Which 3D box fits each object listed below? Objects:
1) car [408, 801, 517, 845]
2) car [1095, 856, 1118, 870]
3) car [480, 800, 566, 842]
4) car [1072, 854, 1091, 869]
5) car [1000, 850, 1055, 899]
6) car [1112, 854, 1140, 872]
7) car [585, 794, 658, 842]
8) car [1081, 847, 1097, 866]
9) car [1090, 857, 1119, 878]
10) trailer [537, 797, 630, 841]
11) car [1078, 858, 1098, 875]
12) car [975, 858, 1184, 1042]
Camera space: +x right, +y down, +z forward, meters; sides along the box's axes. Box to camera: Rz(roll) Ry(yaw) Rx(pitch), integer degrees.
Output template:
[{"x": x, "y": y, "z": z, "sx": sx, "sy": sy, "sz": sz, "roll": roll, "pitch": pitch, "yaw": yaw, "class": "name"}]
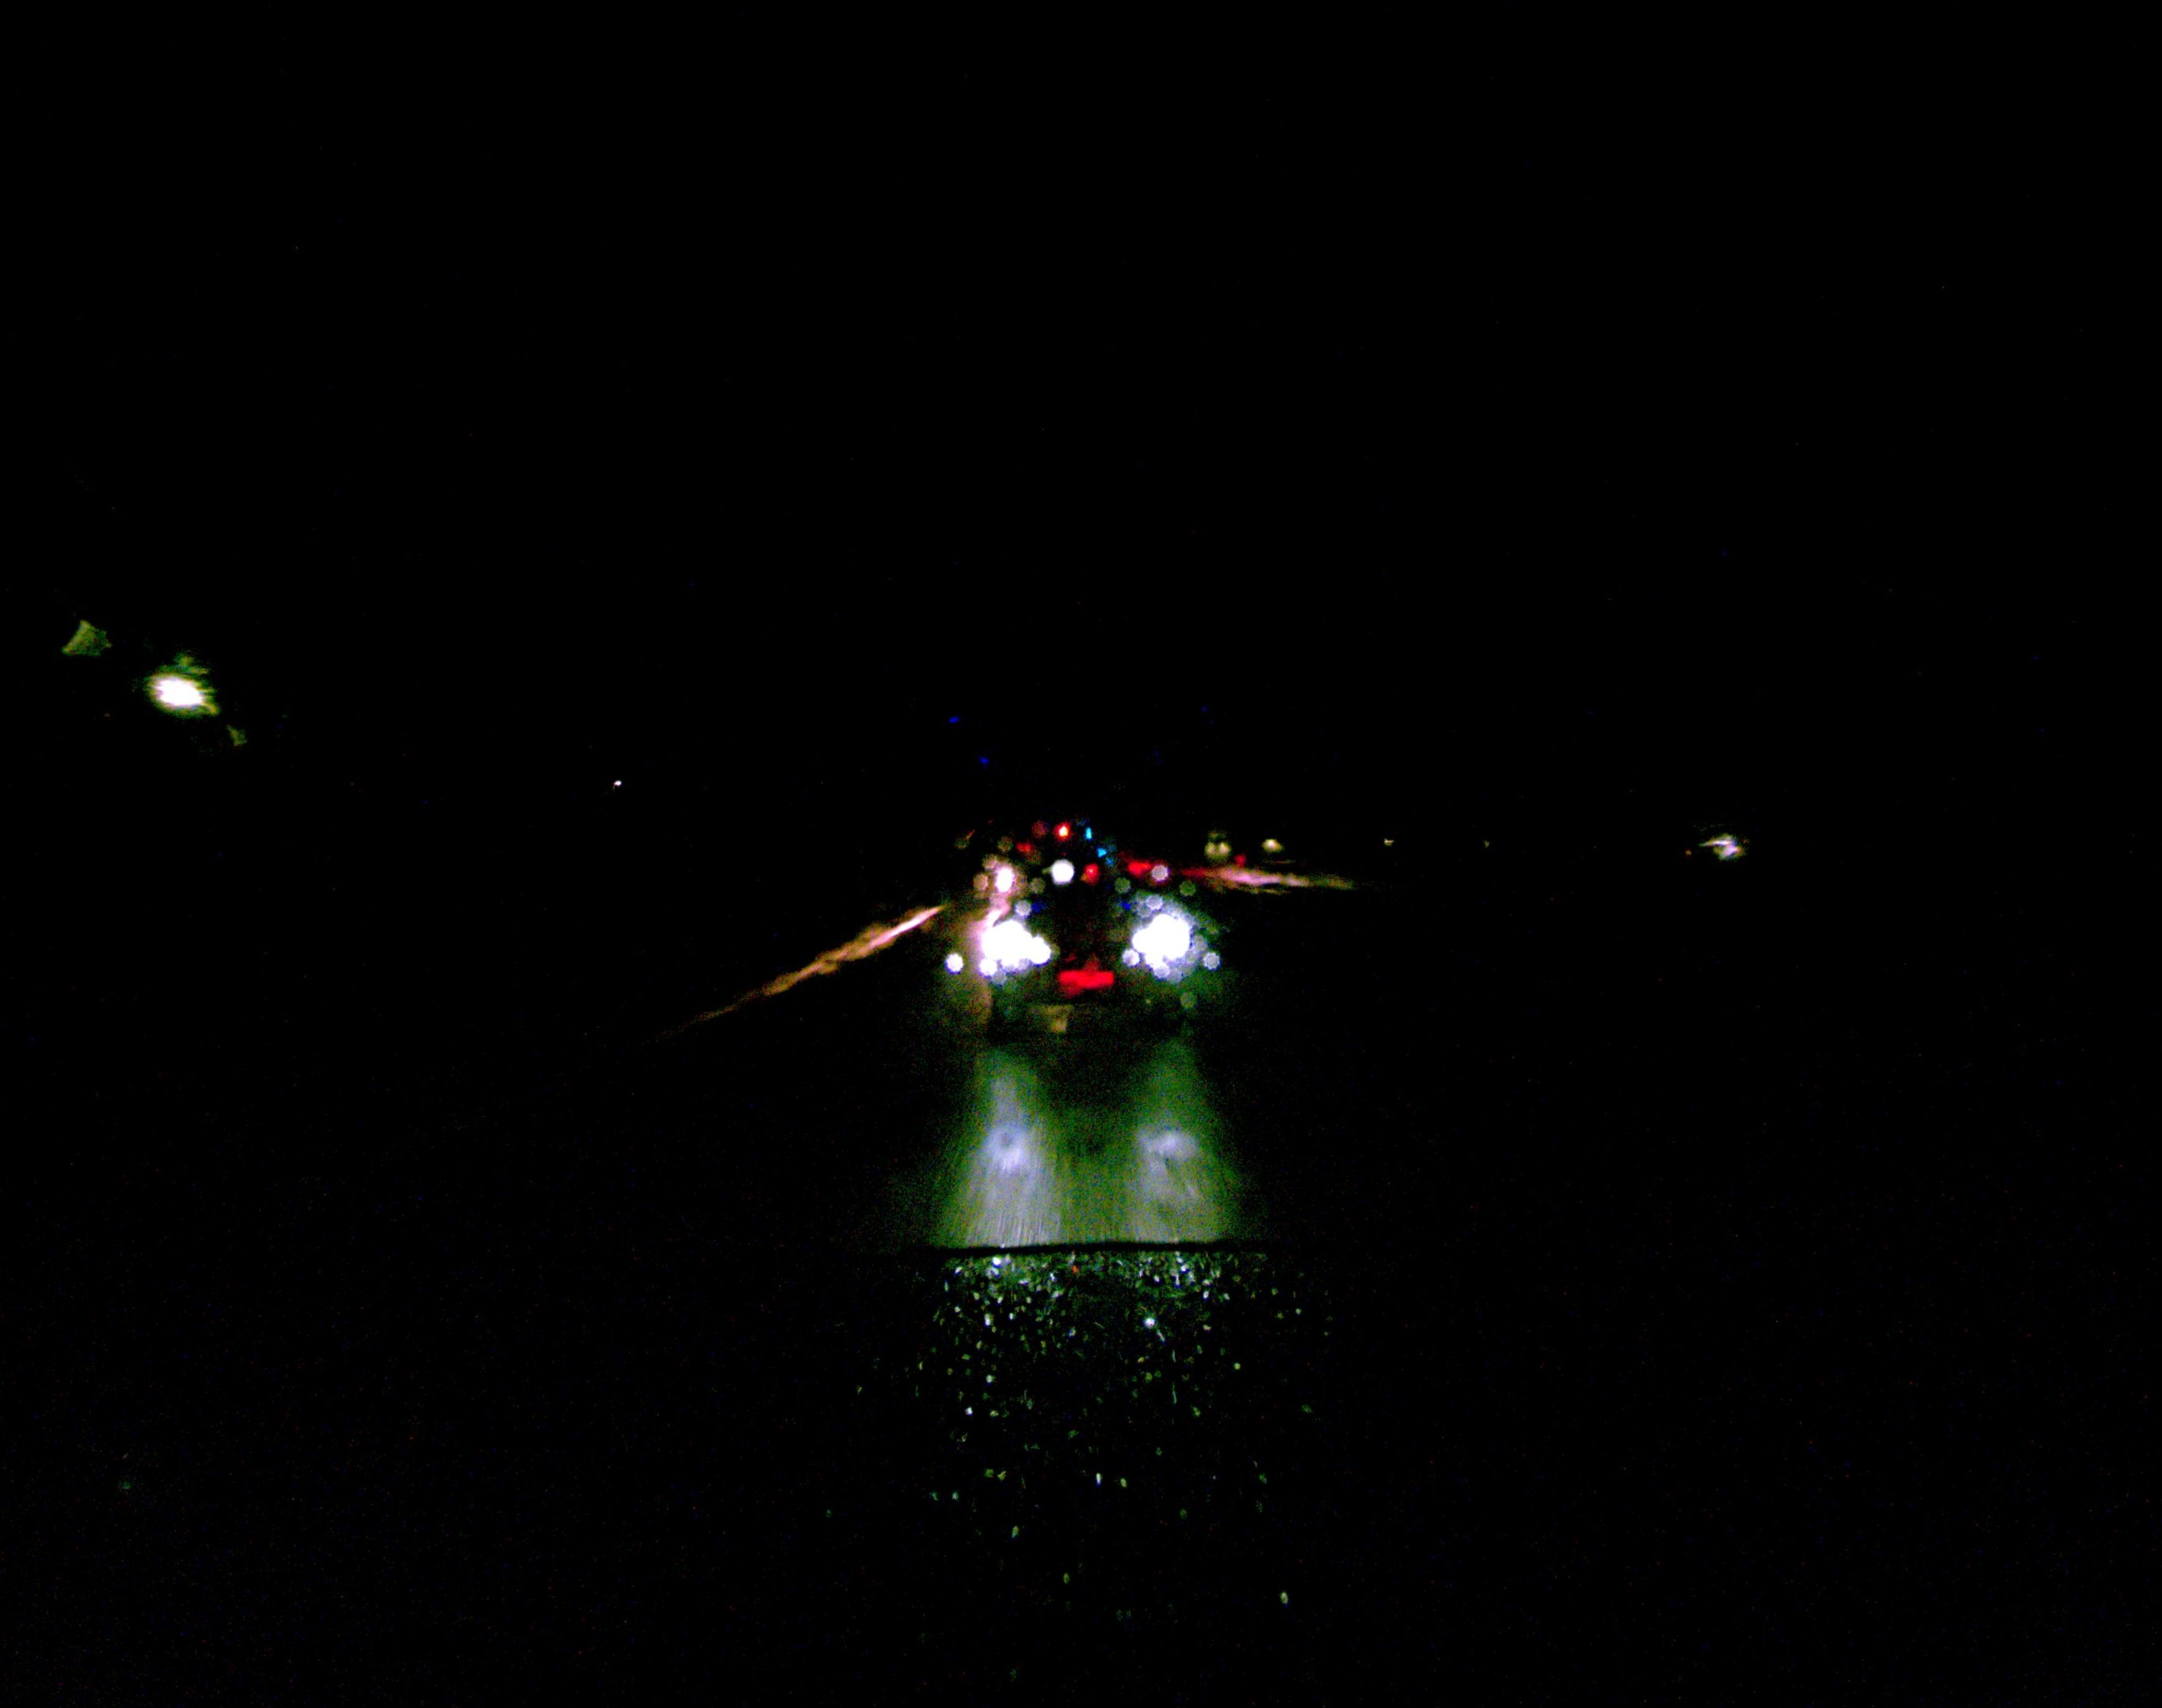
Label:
[{"x": -22.972, "y": -1.103, "z": 28.408, "sx": 1.619, "sy": 1.464, "sz": 3.994, "roll": -2, "pitch": 1, "yaw": -15, "class": "car"}, {"x": 2.755, "y": 1.036, "z": 84.620, "sx": 2.083, "sy": 1.441, "sz": 4.990, "roll": -2, "pitch": 0, "yaw": -3, "class": "car"}, {"x": -24.073, "y": -1.389, "z": 32.952, "sx": 1.619, "sy": 1.630, "sz": 3.994, "roll": -2, "pitch": 1, "yaw": -15, "class": "car"}, {"x": 0.008, "y": 0.829, "z": 85.718, "sx": 1.849, "sy": 1.565, "sz": 4.596, "roll": -2, "pitch": 0, "yaw": -2, "class": "car"}, {"x": -2.141, "y": 0.787, "z": 31.438, "sx": 1.759, "sy": 1.807, "sz": 4.710, "roll": -2, "pitch": 0, "yaw": 1, "class": "car"}, {"x": 3.794, "y": 0.721, "z": 65.144, "sx": 1.923, "sy": 1.435, "sz": 4.544, "roll": -2, "pitch": 0, "yaw": -2, "class": "car"}, {"x": -27.442, "y": -2.070, "z": 45.612, "sx": 2.122, "sy": 2.620, "sz": 5.444, "roll": -1, "pitch": 0, "yaw": -13, "class": "car"}, {"x": 1.189, "y": 0.407, "z": 116.309, "sx": 2.128, "sy": 2.691, "sz": 6.239, "roll": -2, "pitch": 0, "yaw": -3, "class": "car"}, {"x": 1.693, "y": 0.970, "z": 56.551, "sx": 1.699, "sy": 1.426, "sz": 4.291, "roll": -2, "pitch": 1, "yaw": -4, "class": "car"}, {"x": -26.145, "y": -1.799, "z": 40.237, "sx": 2.234, "sy": 2.060, "sz": 5.714, "roll": -1, "pitch": 0, "yaw": -13, "class": "trailer"}, {"x": 0.664, "y": 1.240, "z": 76.959, "sx": 1.810, "sy": 1.620, "sz": 4.415, "roll": -2, "pitch": 0, "yaw": -2, "class": "car"}, {"x": -0.005, "y": 0.861, "z": 9.094, "sx": 1.810, "sy": 1.590, "sz": 4.786, "roll": -1, "pitch": 0, "yaw": 0, "class": "car"}]
